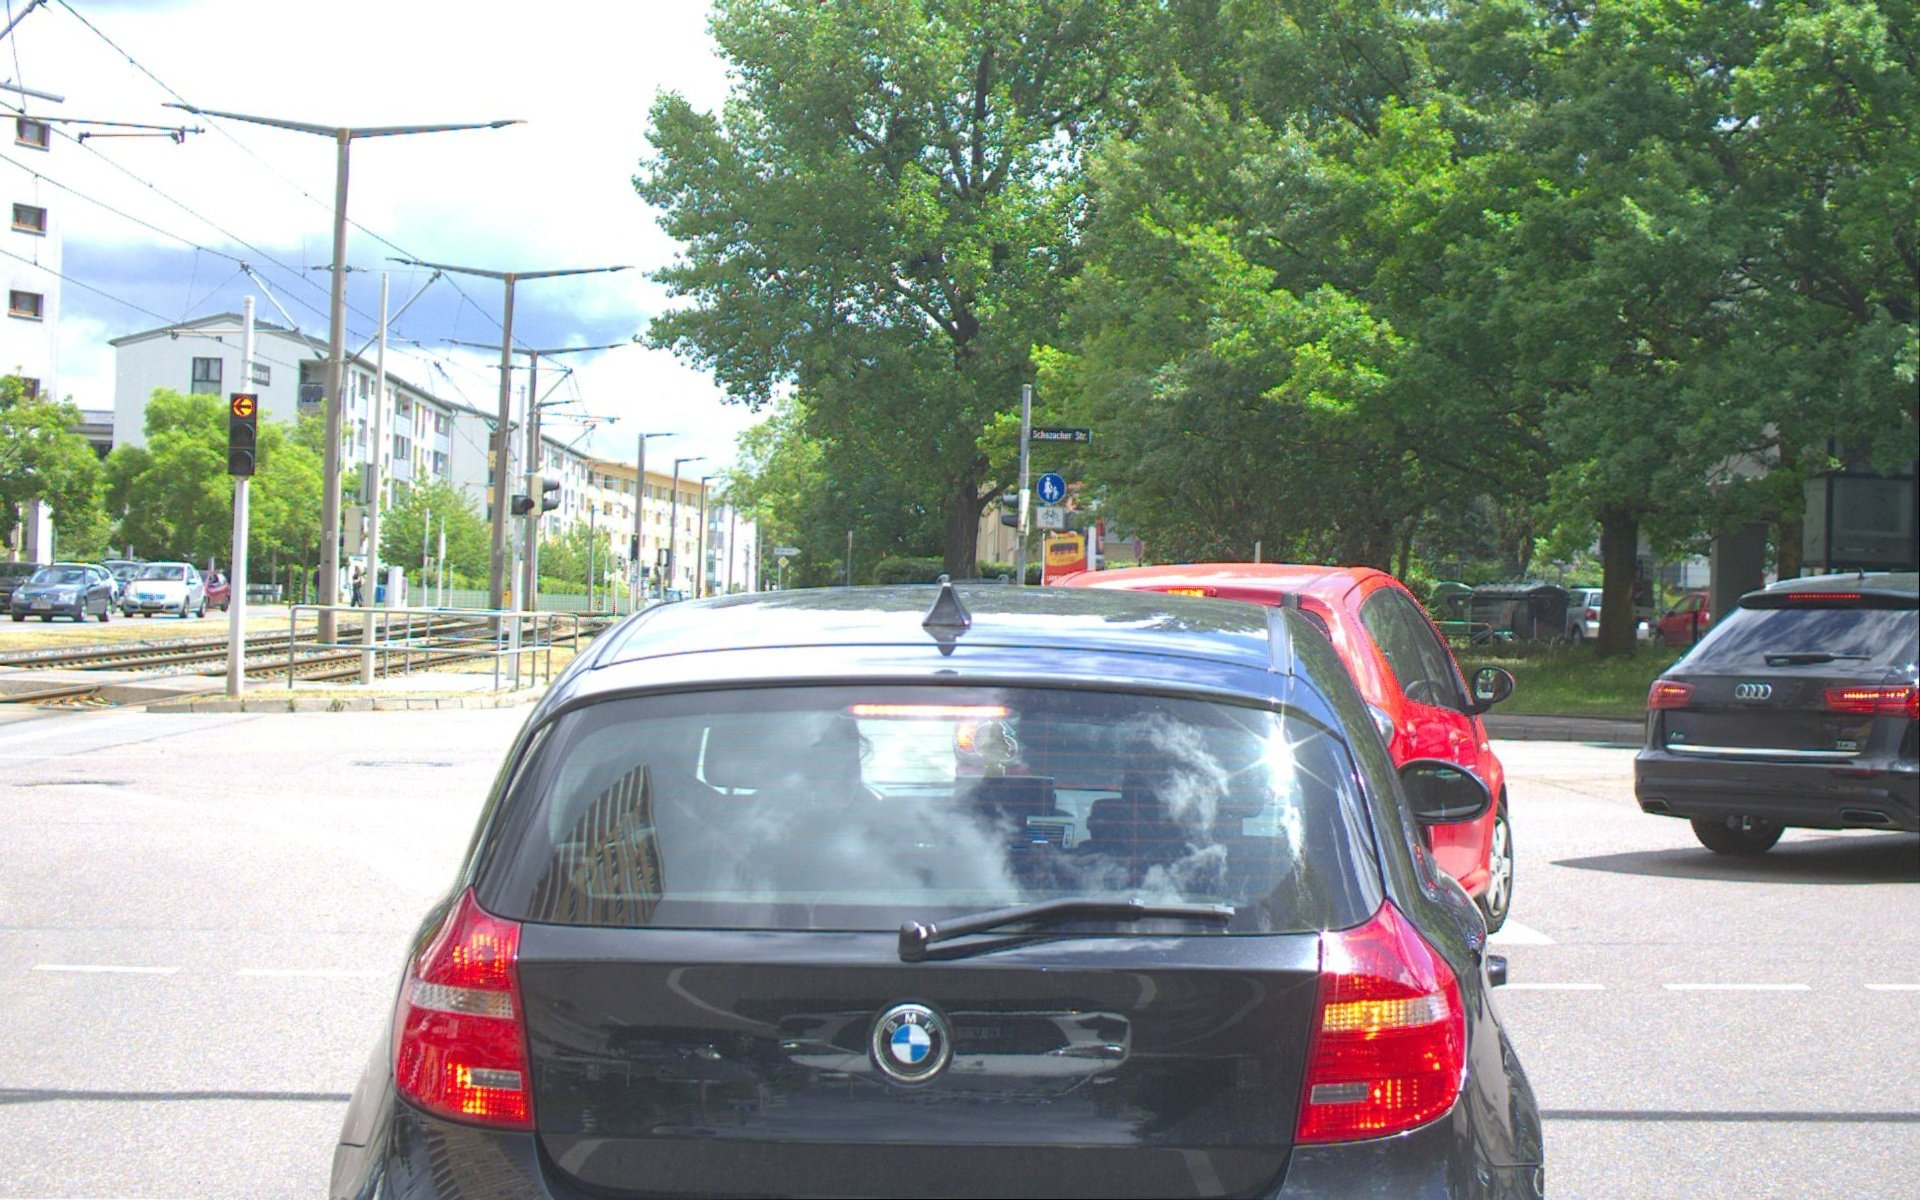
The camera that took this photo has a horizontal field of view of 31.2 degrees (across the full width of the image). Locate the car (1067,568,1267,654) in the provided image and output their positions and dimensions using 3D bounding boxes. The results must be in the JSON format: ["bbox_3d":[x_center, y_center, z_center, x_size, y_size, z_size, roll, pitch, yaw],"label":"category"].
[{"bbox_3d":[4.571,0.250,75.904,3.986,1.817,1.779,1,1,-22],"label":"car"}]

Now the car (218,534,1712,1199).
[{"bbox_3d":[-0.019,0.646,6.074,1.752,1.482,4.000,1,1,-1],"label":"car"}]

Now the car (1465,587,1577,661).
[{"bbox_3d":[12.676,0.517,77.851,1.630,1.567,4.033,1,1,-3],"label":"car"}]

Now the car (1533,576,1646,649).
[{"bbox_3d":[14.454,0.265,79.116,1.630,1.589,4.001,1,1,-3],"label":"car"}]

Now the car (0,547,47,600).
[{"bbox_3d":[-26.065,-0.738,93.659,1.760,1.390,4.001,1,1,-7],"label":"car"}]

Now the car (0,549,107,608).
[{"bbox_3d":[-22.455,-0.528,85.316,1.634,1.395,4.494,2,0,-3],"label":"car"}]

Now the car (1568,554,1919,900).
[{"bbox_3d":[5.369,0.570,17.679,4.508,1.548,1.999,0,1,-41],"label":"car"}]

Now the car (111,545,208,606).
[{"bbox_3d":[-22.980,-0.710,98.770,1.937,1.687,3.873,1,1,-1],"label":"car"}]

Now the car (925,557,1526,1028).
[{"bbox_3d":[1.078,0.579,12.468,1.543,1.436,3.193,1,1,16],"label":"car"}]

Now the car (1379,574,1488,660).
[{"bbox_3d":[10.584,0.355,77.131,1.630,1.804,4.033,1,1,-3],"label":"car"}]

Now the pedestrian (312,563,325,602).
[{"bbox_3d":[-27.236,-0.744,145.990,0.452,1.631,0.480,1,1,-5],"label":"pedestrian"}]

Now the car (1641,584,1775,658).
[{"bbox_3d":[17.271,0.466,79.562,1.730,1.589,4.001,1,1,-8],"label":"car"}]

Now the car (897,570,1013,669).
[{"bbox_3d":[-0.097,0.347,61.843,1.993,1.678,4.000,1,0,0],"label":"car"}]

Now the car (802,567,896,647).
[{"bbox_3d":[-2.463,0.135,77.102,1.993,1.678,4.000,1,1,0],"label":"car"}]

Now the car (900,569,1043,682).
[{"bbox_3d":[0.158,0.396,54.394,2.152,1.678,4.000,1,0,0],"label":"car"}]
